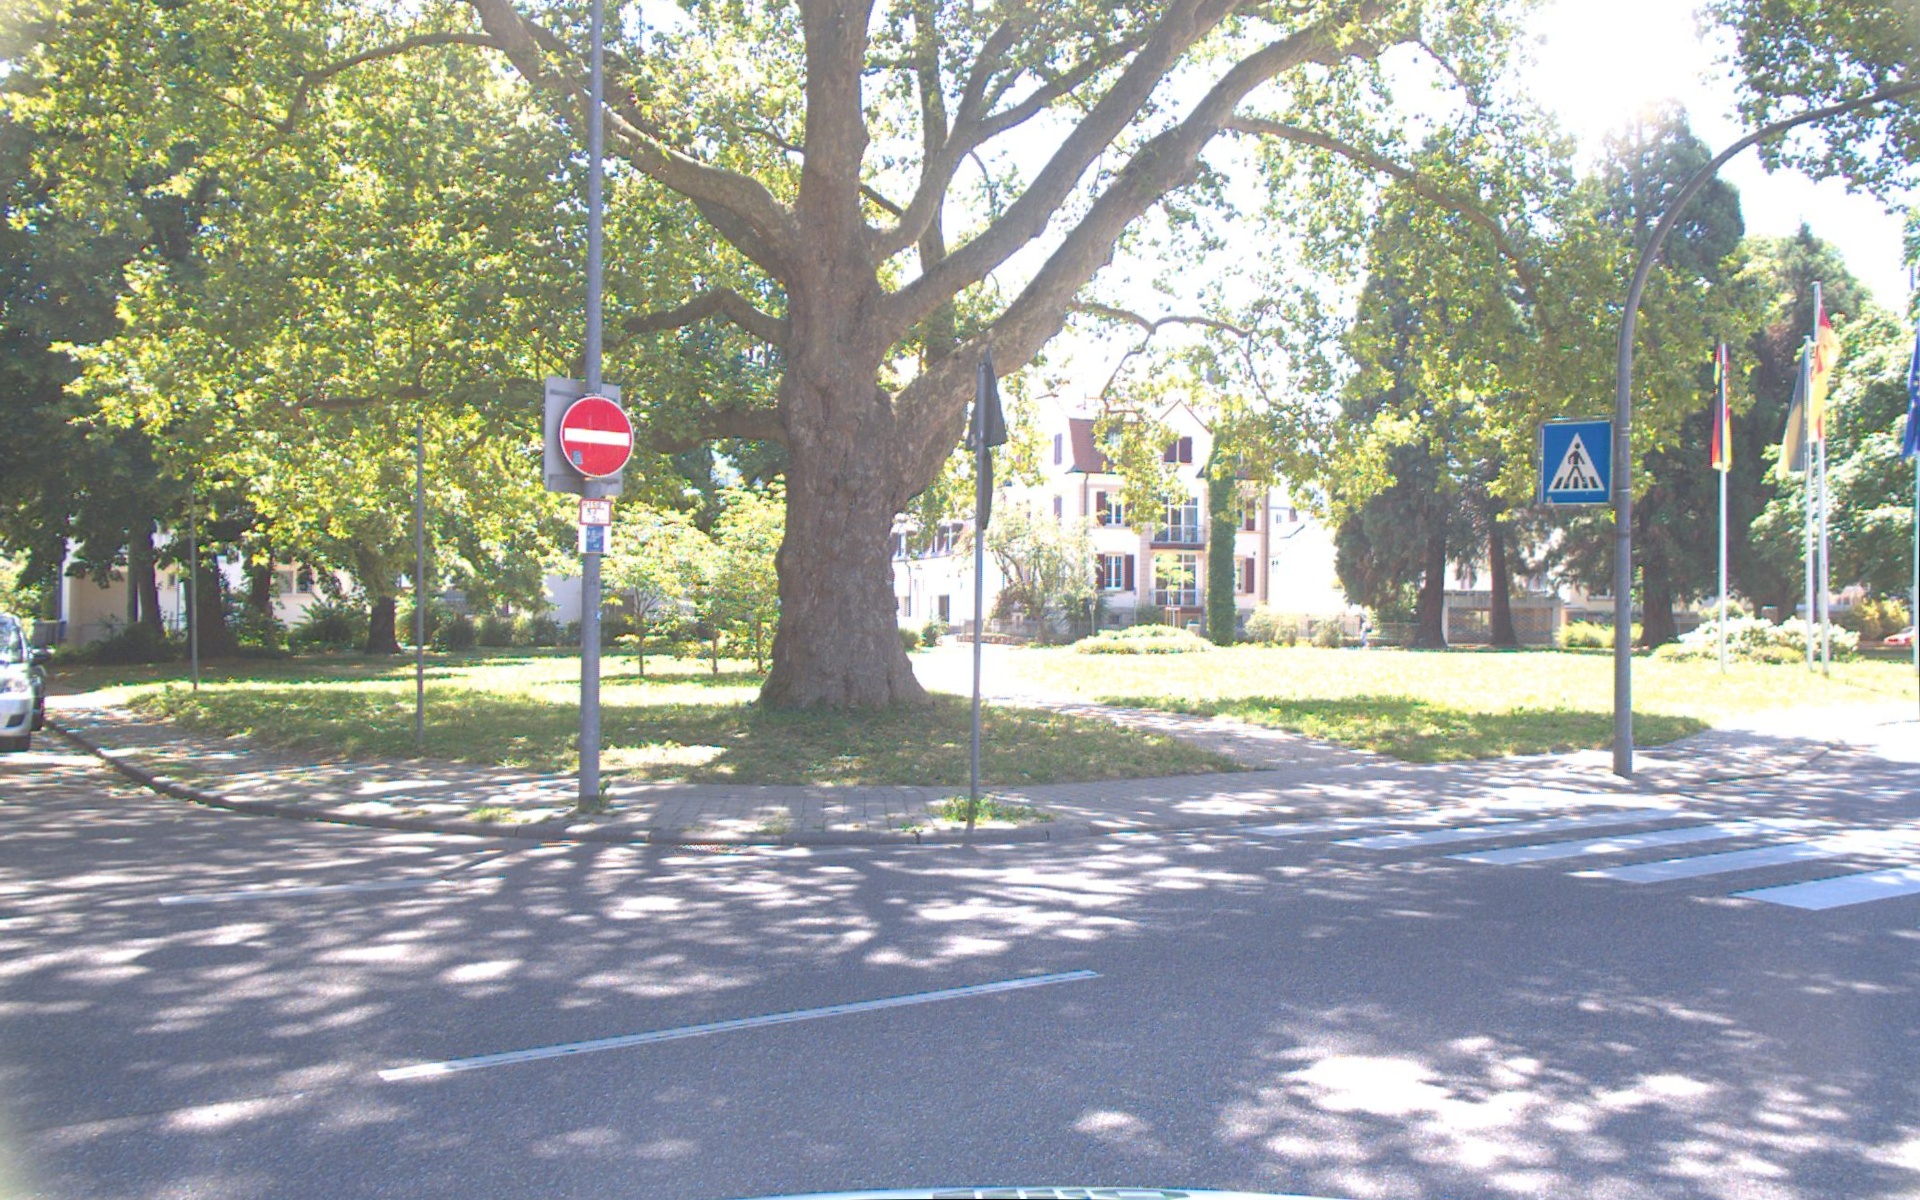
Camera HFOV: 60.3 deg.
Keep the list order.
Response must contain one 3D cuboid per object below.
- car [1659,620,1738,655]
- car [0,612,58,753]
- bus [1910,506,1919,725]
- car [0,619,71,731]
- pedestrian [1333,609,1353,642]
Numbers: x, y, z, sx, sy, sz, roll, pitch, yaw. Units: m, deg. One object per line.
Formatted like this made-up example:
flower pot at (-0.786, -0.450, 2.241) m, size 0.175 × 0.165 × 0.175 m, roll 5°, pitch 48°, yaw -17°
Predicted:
car at (41.746, 2.095, 93.513) m, size 3.932 × 1.782 × 1.864 m, roll 2°, pitch 1°, yaw -23°
car at (-11.505, 0.889, 19.144) m, size 1.580 × 1.523 × 3.446 m, roll 2°, pitch -2°, yaw -33°
bus at (20.366, 0.294, 27.602) m, size 12.274 × 3.340 × 2.785 m, roll 1°, pitch -1°, yaw -34°
car at (-14.031, 1.017, 23.867) m, size 1.734 × 1.465 × 4.452 m, roll 2°, pitch -2°, yaw -33°
pedestrian at (16.929, 1.135, 73.092) m, size 0.807 × 1.394 × 0.618 m, roll 2°, pitch 1°, yaw 17°
